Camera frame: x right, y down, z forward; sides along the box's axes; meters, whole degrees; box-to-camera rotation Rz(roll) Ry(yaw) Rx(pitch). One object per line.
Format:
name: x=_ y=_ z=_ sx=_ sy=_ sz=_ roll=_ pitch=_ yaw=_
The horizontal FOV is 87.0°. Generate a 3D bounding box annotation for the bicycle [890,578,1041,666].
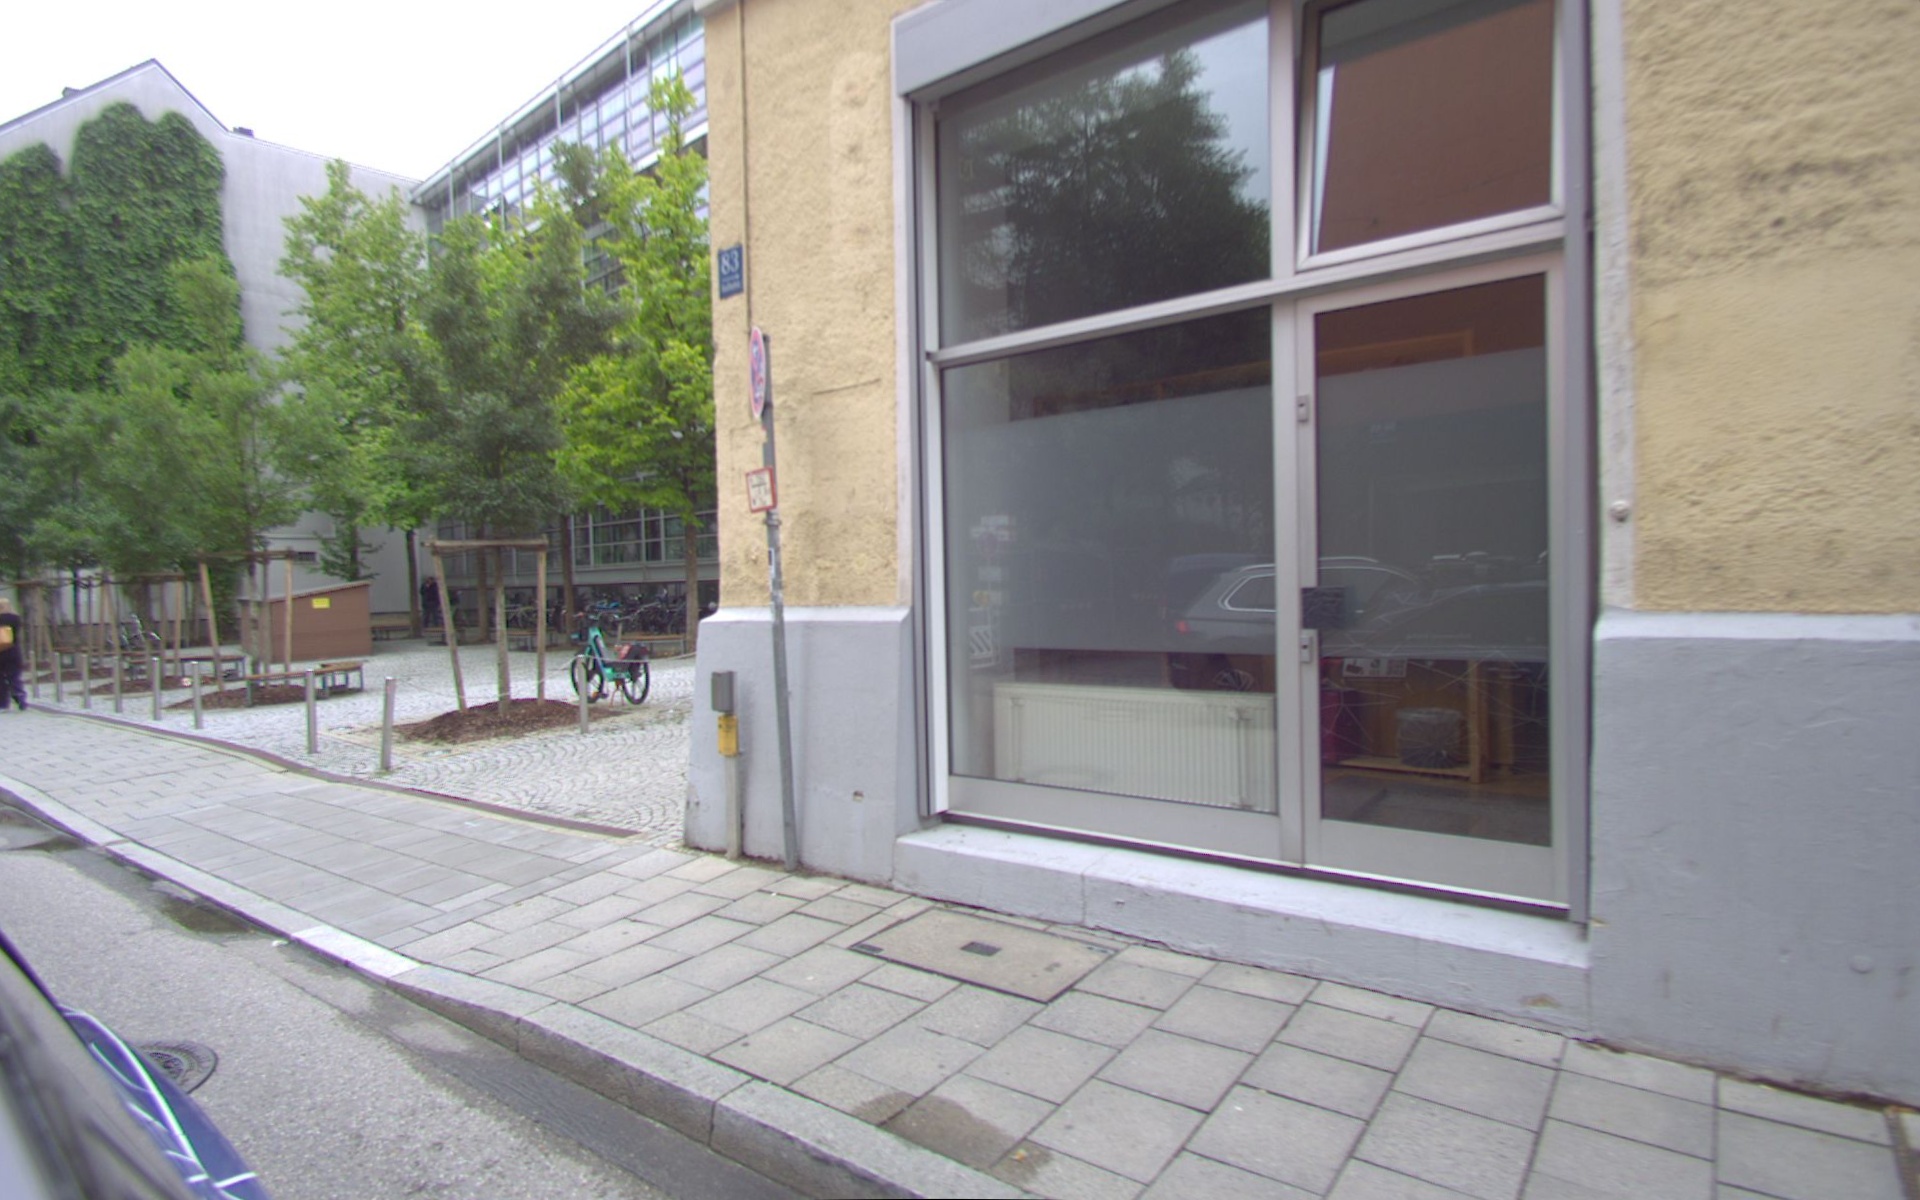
bicycle: x=0.175 y=0.318 z=17.155 sx=0.765 sy=1.260 sz=3.195 roll=-1 pitch=2 yaw=37

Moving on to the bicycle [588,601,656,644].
bicycle: x=-8.904 y=0.581 z=26.694 sx=0.628 sy=1.068 sz=1.556 roll=-1 pitch=1 yaw=40

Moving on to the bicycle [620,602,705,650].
bicycle: x=-7.275 y=0.612 z=24.812 sx=0.705 sy=1.066 sz=1.877 roll=-1 pitch=1 yaw=41

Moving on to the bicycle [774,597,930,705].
bicycle: x=-1.329 y=0.600 z=12.816 sx=0.747 sy=1.181 sz=1.954 roll=-1 pitch=2 yaw=41

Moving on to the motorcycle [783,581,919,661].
motorcycle: x=-2.062 y=0.362 z=19.602 sx=0.969 sy=1.422 sz=2.637 roll=-1 pitch=1 yaw=41

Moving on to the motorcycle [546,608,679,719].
motorcycle: x=-4.123 y=0.703 z=11.924 sx=1.981 sy=1.181 sz=0.570 roll=-1 pitch=2 yaw=43

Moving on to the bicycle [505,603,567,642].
bicycle: x=-12.497 y=0.647 z=29.839 sx=0.628 sy=1.068 sz=1.556 roll=-1 pitch=1 yaw=40

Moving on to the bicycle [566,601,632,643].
bicycle: x=-9.813 y=0.591 z=27.519 sx=0.628 sy=1.068 sz=1.556 roll=-1 pitch=1 yaw=40

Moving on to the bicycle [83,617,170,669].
bicycle: x=-20.695 y=1.055 z=25.123 sx=1.983 sy=1.217 sz=0.709 roll=-1 pitch=2 yaw=20

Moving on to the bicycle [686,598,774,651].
bicycle: x=-5.229 y=0.541 z=23.116 sx=0.708 sy=1.083 sz=1.877 roll=-1 pitch=1 yaw=41

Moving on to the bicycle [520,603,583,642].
bicycle: x=-11.871 y=0.641 z=29.421 sx=0.628 sy=1.068 sz=1.556 roll=-1 pitch=1 yaw=40

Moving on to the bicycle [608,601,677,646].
bicycle: x=-8.110 y=0.577 z=25.905 sx=0.628 sy=1.068 sz=1.556 roll=-1 pitch=1 yaw=40

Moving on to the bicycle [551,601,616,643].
bicycle: x=-10.388 y=0.601 z=27.976 sx=0.628 sy=1.068 sz=1.556 roll=-1 pitch=1 yaw=40

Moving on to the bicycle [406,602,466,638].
bicycle: x=-17.952 y=0.666 z=34.711 sx=0.602 sy=1.151 sz=1.702 roll=-1 pitch=1 yaw=43

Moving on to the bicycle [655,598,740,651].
bicycle: x=-6.191 y=0.561 z=23.922 sx=0.665 sy=1.114 sz=1.877 roll=-1 pitch=1 yaw=41

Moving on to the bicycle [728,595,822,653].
bicycle: x=-4.011 y=0.498 z=22.037 sx=0.826 sy=1.134 sz=1.877 roll=-1 pitch=1 yaw=41

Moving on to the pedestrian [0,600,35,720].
pedestrian: x=-13.811 y=0.851 z=14.553 sx=0.996 sy=1.672 sz=0.547 roll=-1 pitch=1 yaw=37

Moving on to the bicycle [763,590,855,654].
bicycle: x=-3.137 y=0.437 z=21.225 sx=0.698 sy=1.212 sz=1.877 roll=-1 pitch=1 yaw=41

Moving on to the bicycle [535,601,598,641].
bicycle: x=-11.207 y=0.588 z=28.857 sx=0.628 sy=1.068 sz=1.556 roll=-1 pitch=1 yaw=40
